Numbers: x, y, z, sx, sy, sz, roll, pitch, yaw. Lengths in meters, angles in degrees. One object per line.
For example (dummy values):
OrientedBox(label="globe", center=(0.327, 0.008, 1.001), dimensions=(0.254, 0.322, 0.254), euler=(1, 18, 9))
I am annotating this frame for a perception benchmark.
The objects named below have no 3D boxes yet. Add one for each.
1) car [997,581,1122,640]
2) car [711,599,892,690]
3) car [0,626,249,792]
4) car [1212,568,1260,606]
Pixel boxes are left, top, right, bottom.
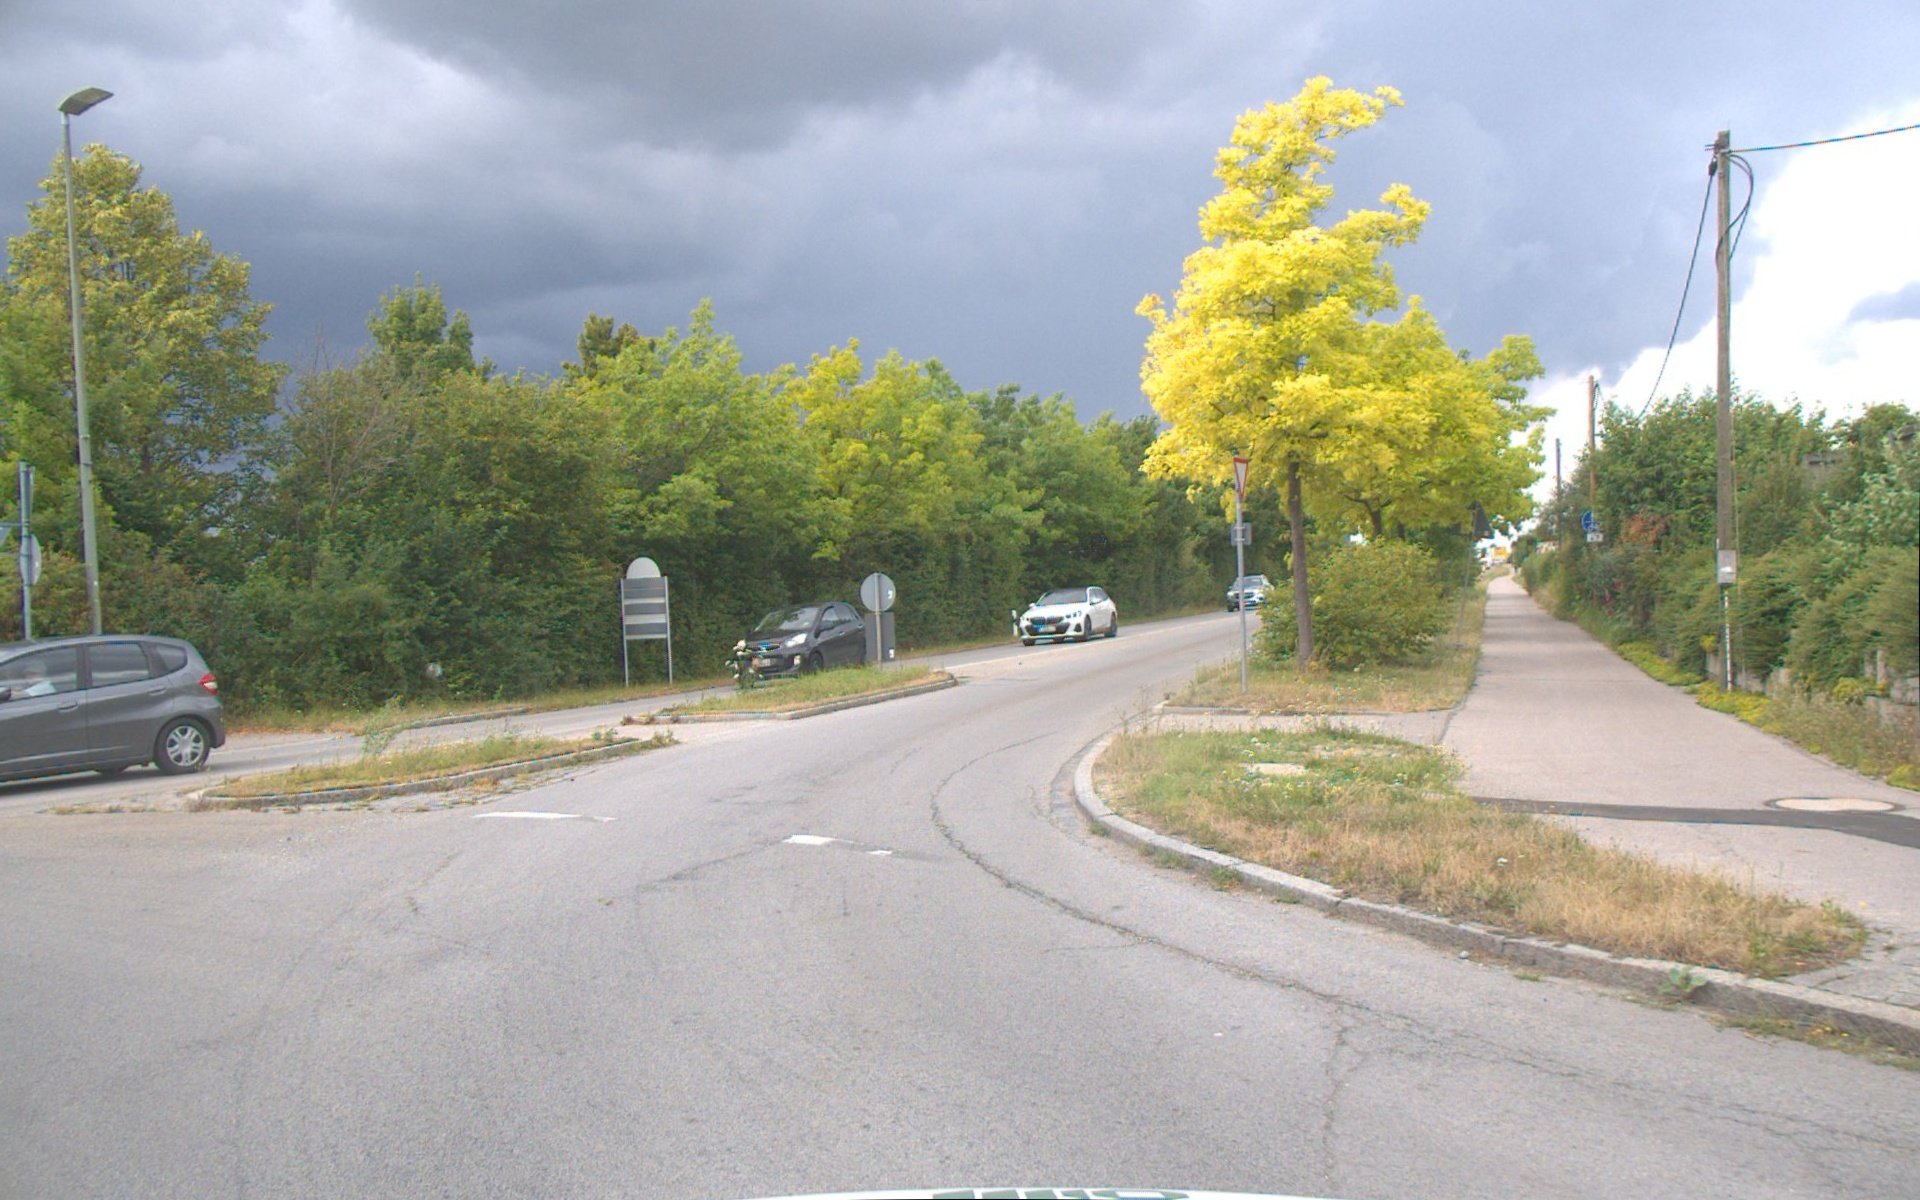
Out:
OrientedBox(label="car", center=(2.903, 0.274, 46.987), dimensions=(2.167, 1.479, 4.944), euler=(-1, 1, 21))
OrientedBox(label="car", center=(-2.908, 0.798, 31.184), dimensions=(1.648, 1.479, 3.999), euler=(-1, 1, 23))
OrientedBox(label="car", center=(-9.474, 1.117, 16.616), dimensions=(1.652, 1.447, 3.989), euler=(-4, 0, 33))
OrientedBox(label="car", center=(13.444, -0.628, 80.407), dimensions=(1.951, 1.629, 4.669), euler=(-5, -1, 12))
